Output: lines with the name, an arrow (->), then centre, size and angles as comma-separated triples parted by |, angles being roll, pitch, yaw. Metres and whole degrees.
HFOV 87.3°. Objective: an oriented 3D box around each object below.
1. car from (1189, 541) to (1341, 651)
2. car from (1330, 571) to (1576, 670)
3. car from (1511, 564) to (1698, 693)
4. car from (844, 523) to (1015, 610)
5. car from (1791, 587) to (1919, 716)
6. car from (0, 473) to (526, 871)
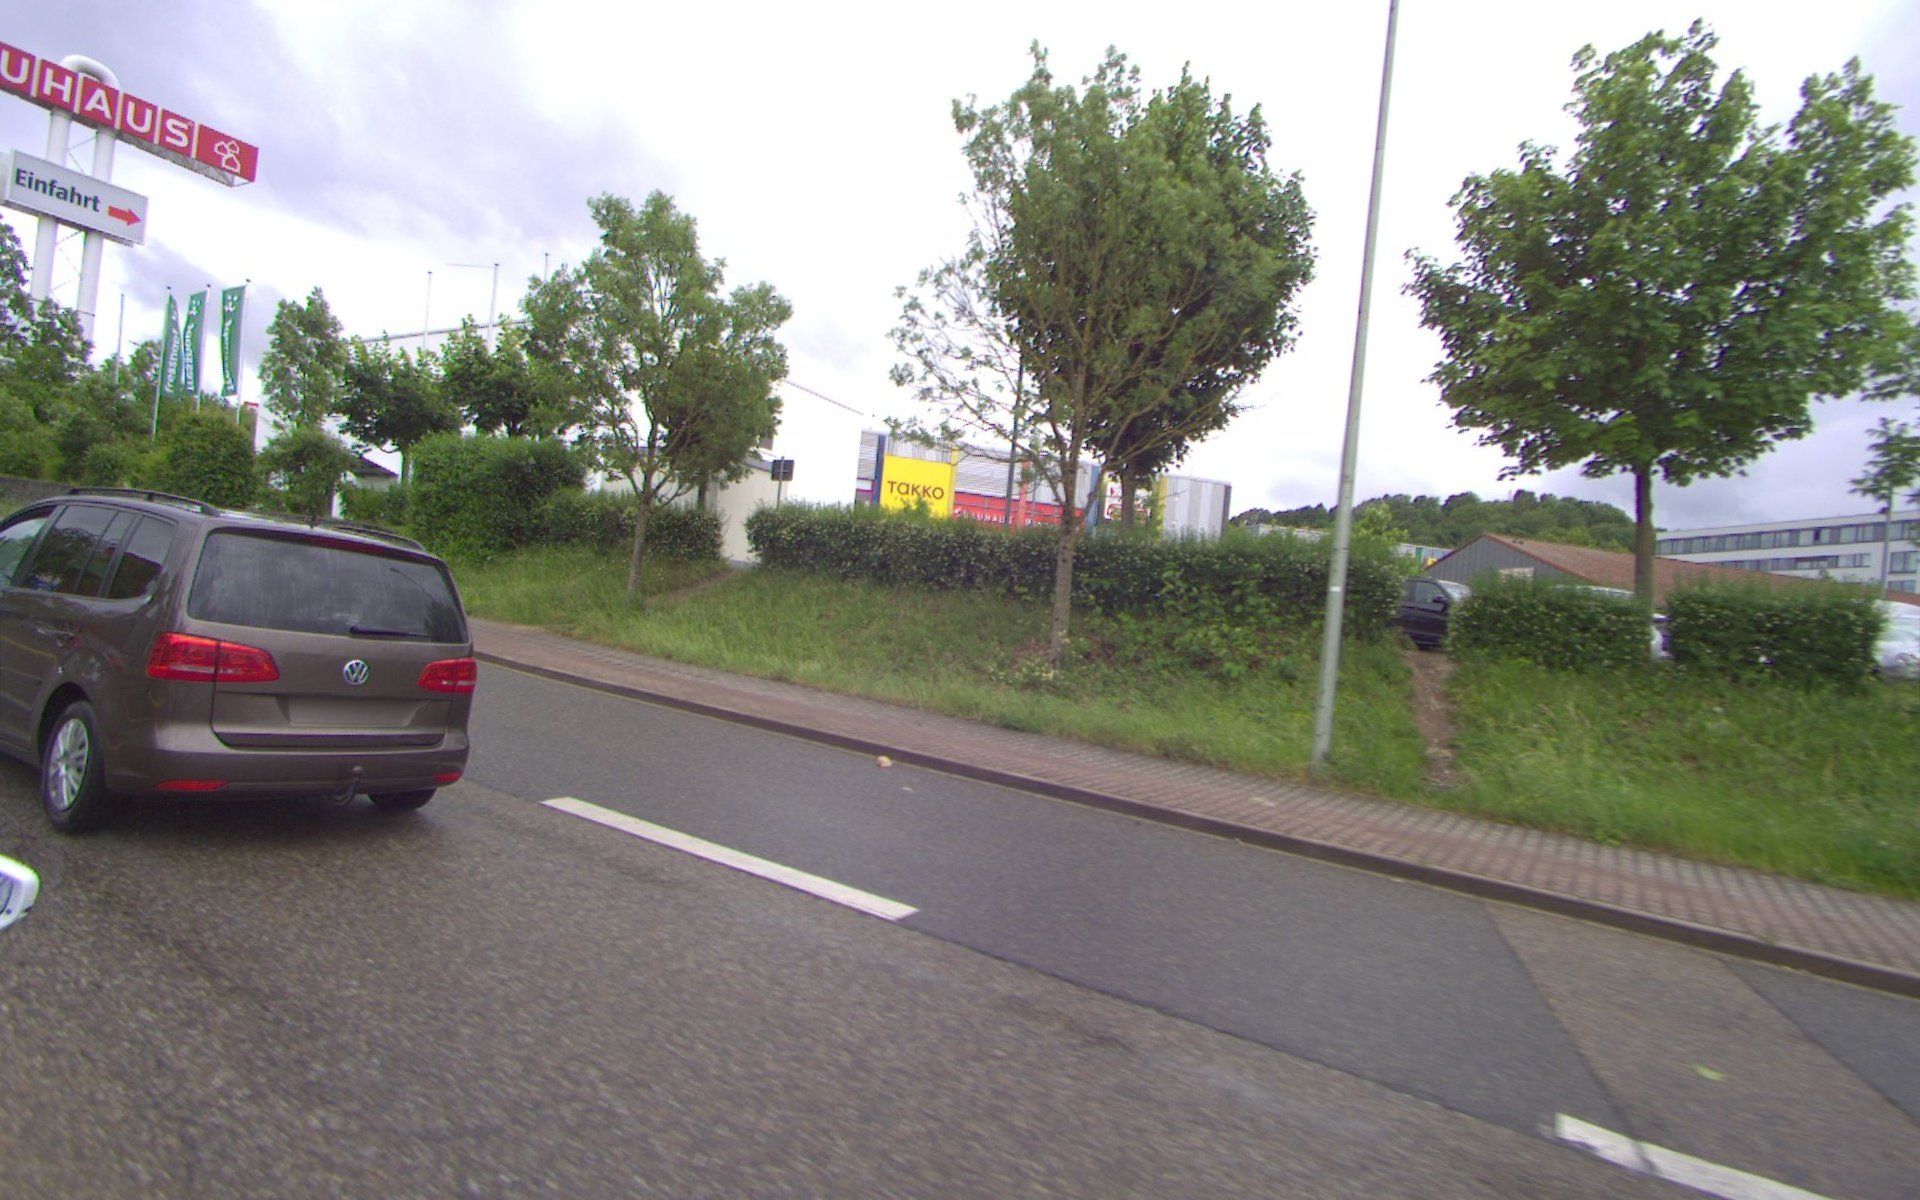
car -> 5.757, -0.052, 18.598 | 1.894, 1.650, 4.353 | 6, 2, 26
car -> 10.414, 0.378, 21.621 | 1.905, 1.650, 4.328 | 4, 2, -29
car -> 10.280, 0.429, 16.386 | 1.894, 1.650, 4.353 | 6, 2, 26
car -> -0.590, -0.713, 23.357 | 1.895, 1.650, 4.351 | 6, 2, 29
car -> 14.017, 0.789, 14.584 | 1.894, 1.650, 4.353 | 6, 2, 26
car -> -4.742, 0.219, 5.980 | 4.147, 1.599, 1.690 | 7, -2, 30
